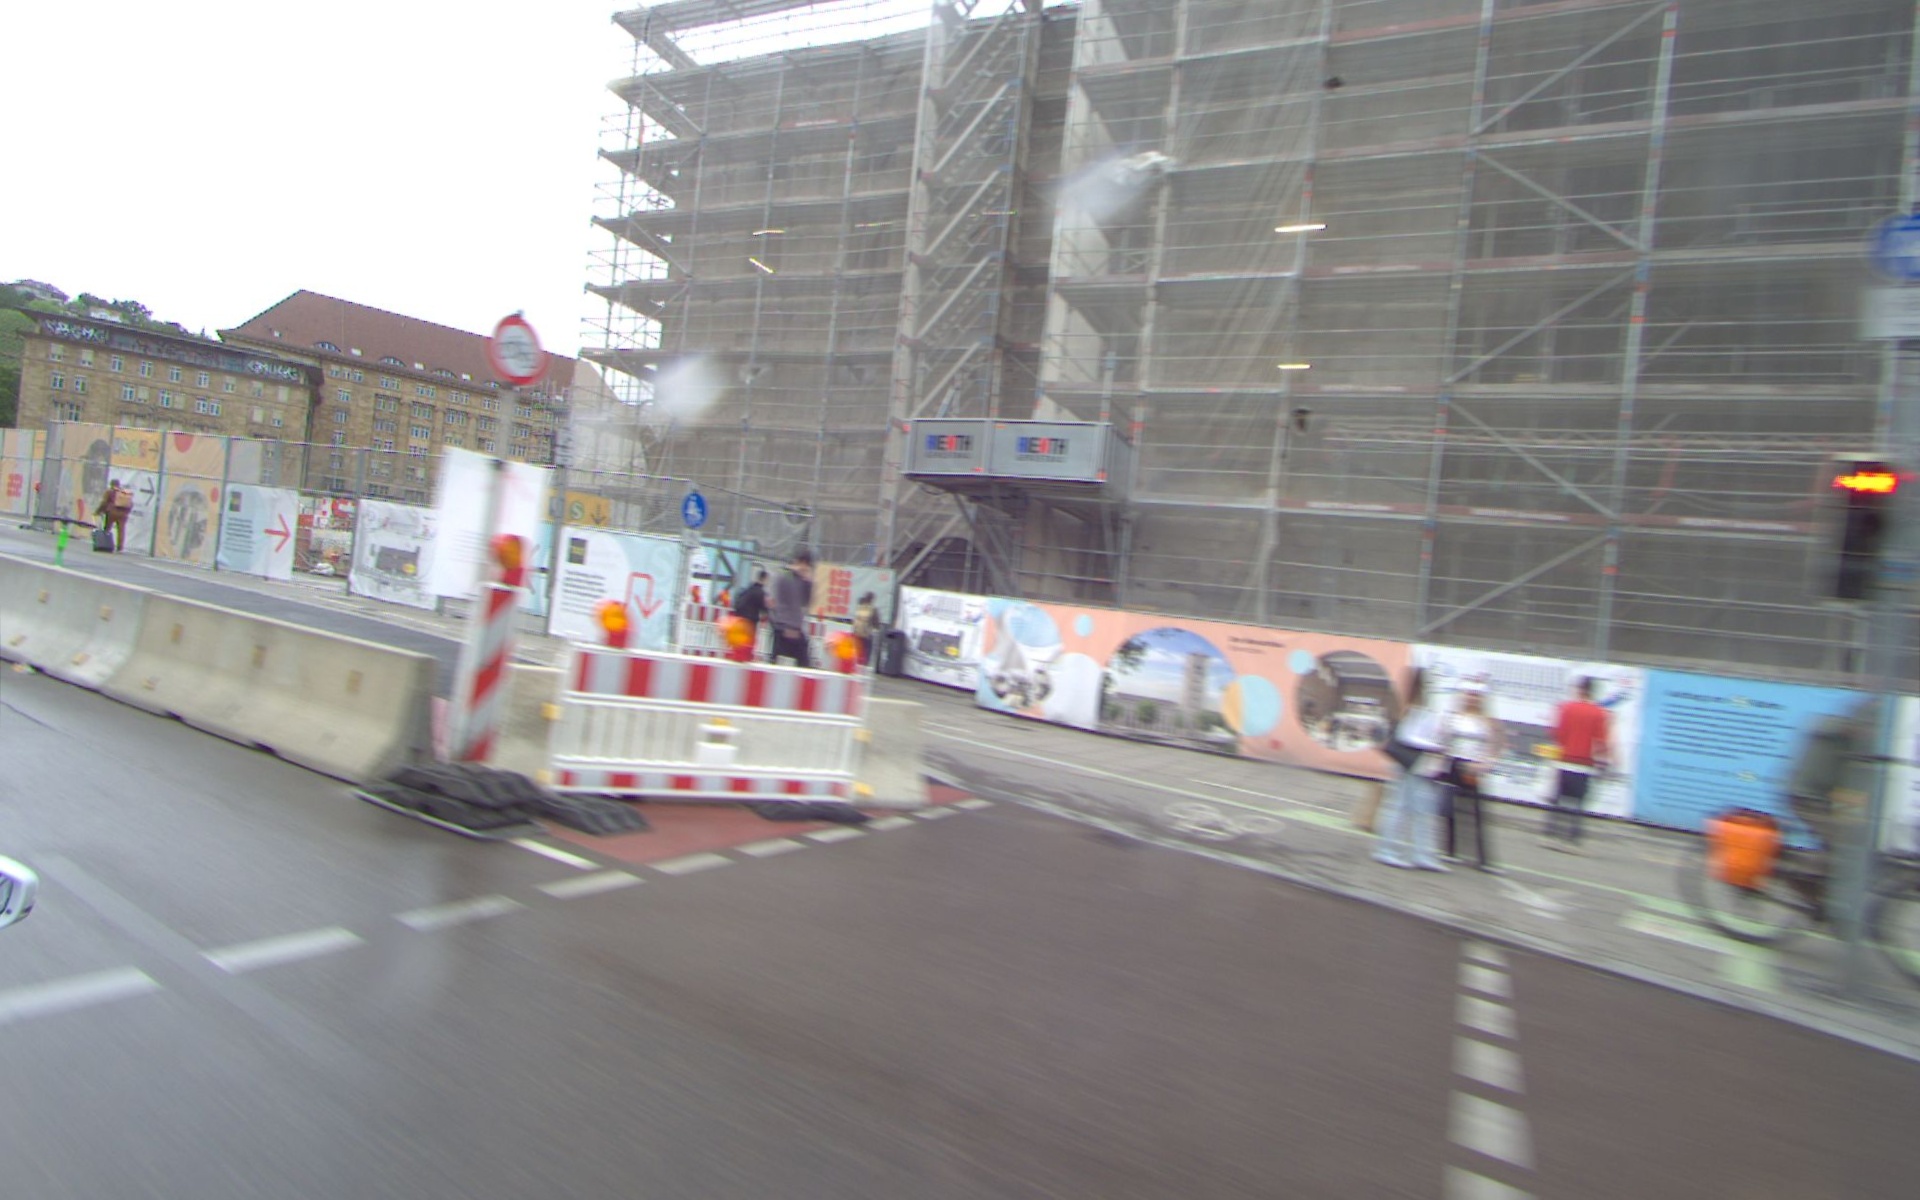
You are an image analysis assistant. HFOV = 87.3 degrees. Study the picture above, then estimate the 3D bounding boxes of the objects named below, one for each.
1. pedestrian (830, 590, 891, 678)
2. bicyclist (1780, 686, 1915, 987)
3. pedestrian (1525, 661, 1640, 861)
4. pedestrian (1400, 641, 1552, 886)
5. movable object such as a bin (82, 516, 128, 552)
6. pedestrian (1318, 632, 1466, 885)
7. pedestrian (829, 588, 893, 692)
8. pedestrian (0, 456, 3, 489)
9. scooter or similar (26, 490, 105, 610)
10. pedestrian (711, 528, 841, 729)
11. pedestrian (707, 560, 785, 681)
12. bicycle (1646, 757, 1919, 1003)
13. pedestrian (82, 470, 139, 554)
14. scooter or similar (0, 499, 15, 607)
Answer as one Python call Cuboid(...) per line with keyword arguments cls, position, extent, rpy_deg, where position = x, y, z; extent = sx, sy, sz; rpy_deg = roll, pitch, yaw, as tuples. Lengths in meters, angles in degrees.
Cuboid(cls="pedestrian", position=(-2.129, 0.729, 21.518), extent=(0.792, 1.778, 0.814), rpy_deg=(7, 1, 32))
Cuboid(cls="bicyclist", position=(5.572, 1.437, 6.312), extent=(0.693, 1.726, 0.428), rpy_deg=(6, 1, -45))
Cuboid(cls="pedestrian", position=(6.006, 1.524, 9.726), extent=(0.731, 1.748, 0.713), rpy_deg=(7, 0, 32))
Cuboid(cls="pedestrian", position=(4.242, 1.287, 8.256), extent=(0.867, 1.778, 0.814), rpy_deg=(7, 1, 32))
Cuboid(cls="movable object such as a bin", position=(-20.394, -1.565, 23.992), extent=(0.765, 0.743, 0.597), rpy_deg=(7, 0, 33))
Cuboid(cls="pedestrian", position=(3.372, 1.167, 7.842), extent=(0.792, 1.779, 0.812), rpy_deg=(5, 3, 35))
Cuboid(cls="pedestrian", position=(-1.780, 0.721, 18.204), extent=(0.638, 1.778, 0.815), rpy_deg=(7, 1, 26))
Cuboid(cls="pedestrian", position=(-25.629, -2.871, 26.142), extent=(0.651, 1.919, 0.849), rpy_deg=(7, 1, 32))
Cuboid(cls="scooter or similar", position=(-10.837, -0.614, 12.211), extent=(0.489, 1.350, 1.015), rpy_deg=(6, 1, -35))
Cuboid(cls="pedestrian", position=(-2.021, 0.315, 11.054), extent=(0.852, 2.037, 0.786), rpy_deg=(10, 3, 37))
Cuboid(cls="pedestrian", position=(-3.540, 0.328, 16.613), extent=(0.989, 1.872, 0.673), rpy_deg=(6, 1, -20))
Cuboid(cls="bicycle", position=(5.584, 1.740, 6.256), extent=(0.751, 1.148, 1.967), rpy_deg=(6, 1, -43))
Cuboid(cls="pedestrian", position=(-20.601, -2.128, 24.404), extent=(0.643, 1.919, 0.767), rpy_deg=(7, 1, 32))
Cuboid(cls="scooter or similar", position=(-12.492, -0.648, 12.561), extent=(1.006, 1.350, 0.526), rpy_deg=(7, 1, 20))
